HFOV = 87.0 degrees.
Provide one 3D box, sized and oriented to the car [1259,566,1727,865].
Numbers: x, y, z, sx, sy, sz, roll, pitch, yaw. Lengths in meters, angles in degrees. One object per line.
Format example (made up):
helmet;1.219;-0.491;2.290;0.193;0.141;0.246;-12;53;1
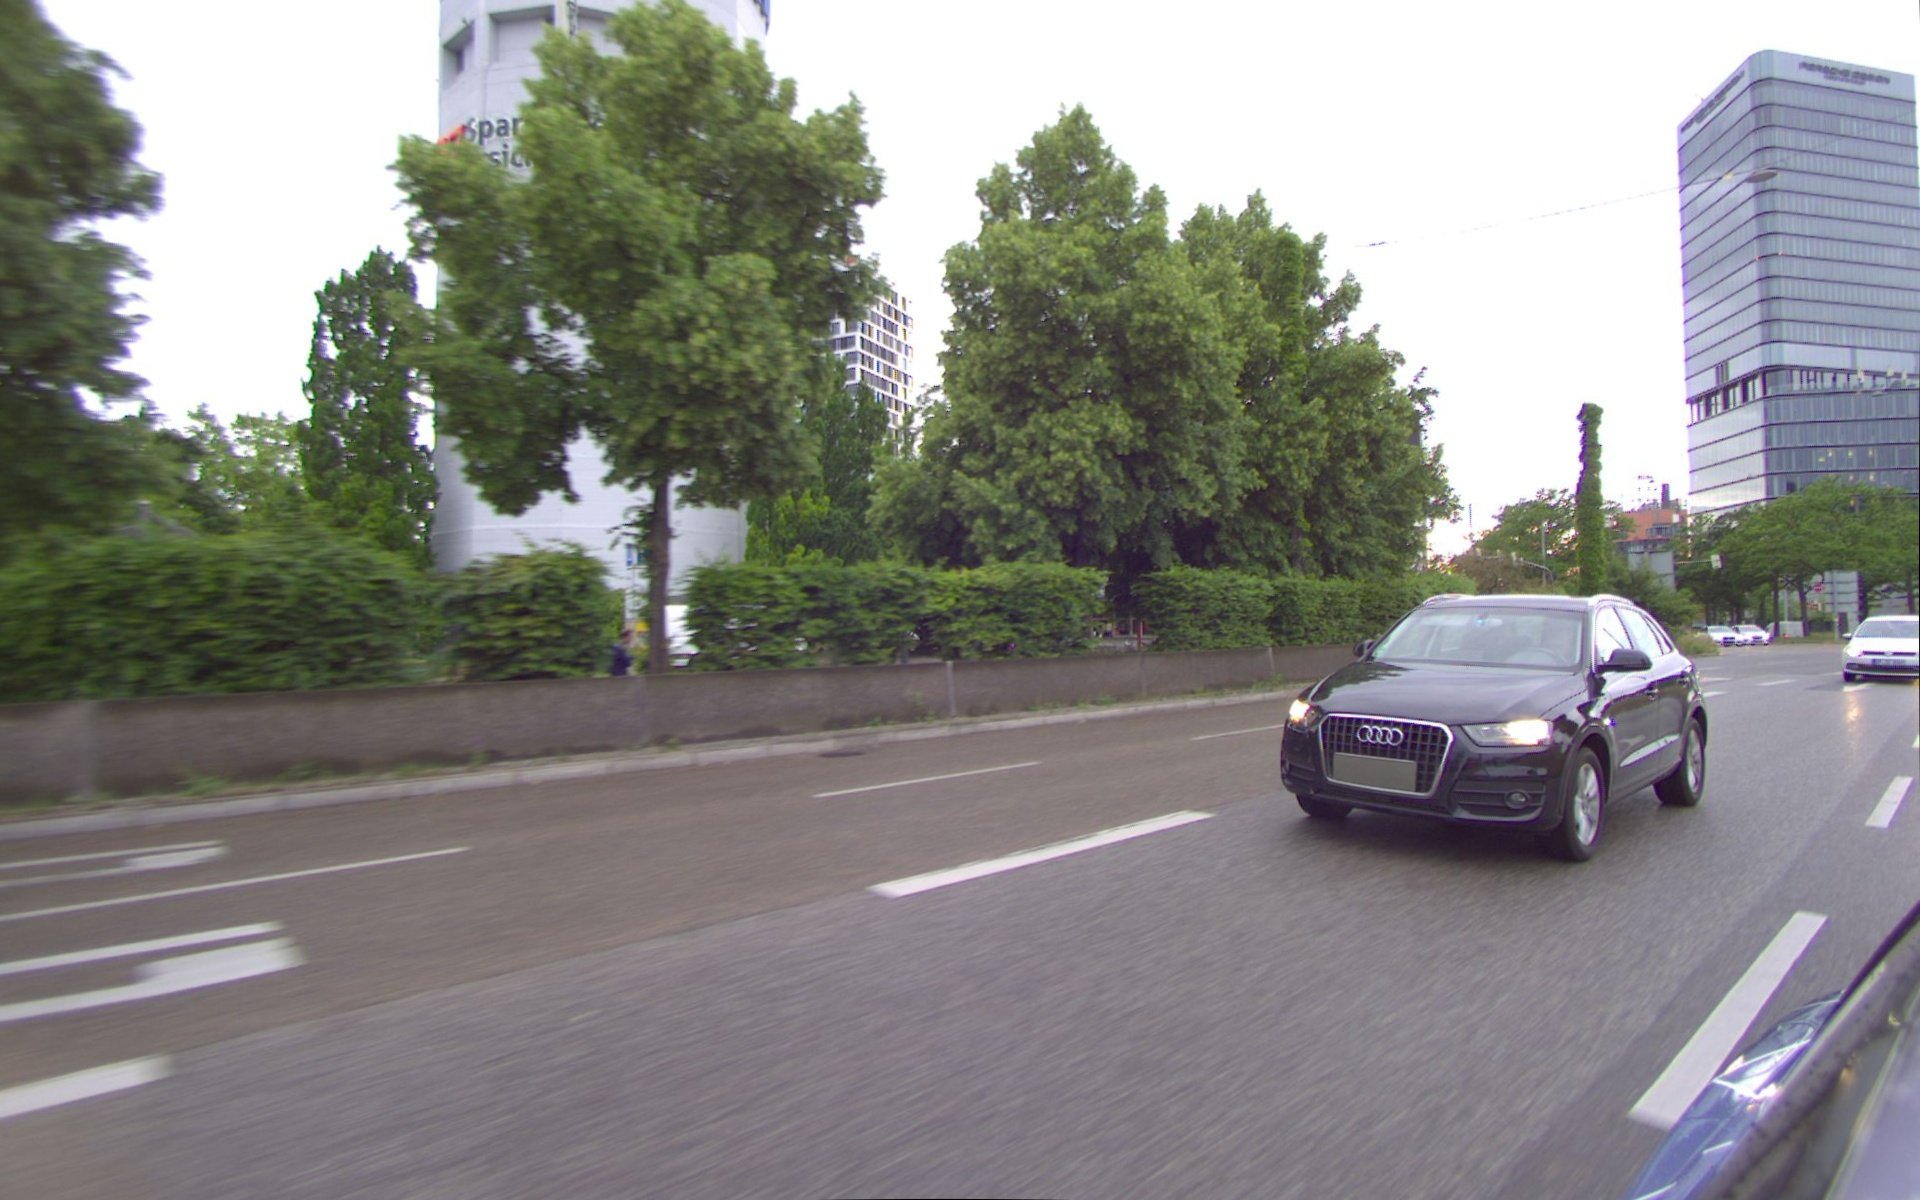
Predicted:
car;4.018;0.654;7.317;4.056;1.554;1.727;1;-3;-43

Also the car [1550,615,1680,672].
car;18.041;1.160;27.832;3.926;1.416;1.758;0;-2;-38

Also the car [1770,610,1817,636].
car;87.799;2.404;106.676;1.907;2.618;5.423;-2;-2;19

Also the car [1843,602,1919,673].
car;21.444;0.799;22.732;4.188;1.491;1.728;0;-3;-40

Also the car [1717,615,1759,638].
car;53.320;1.828;69.314;3.614;1.495;1.632;0;-2;-43
